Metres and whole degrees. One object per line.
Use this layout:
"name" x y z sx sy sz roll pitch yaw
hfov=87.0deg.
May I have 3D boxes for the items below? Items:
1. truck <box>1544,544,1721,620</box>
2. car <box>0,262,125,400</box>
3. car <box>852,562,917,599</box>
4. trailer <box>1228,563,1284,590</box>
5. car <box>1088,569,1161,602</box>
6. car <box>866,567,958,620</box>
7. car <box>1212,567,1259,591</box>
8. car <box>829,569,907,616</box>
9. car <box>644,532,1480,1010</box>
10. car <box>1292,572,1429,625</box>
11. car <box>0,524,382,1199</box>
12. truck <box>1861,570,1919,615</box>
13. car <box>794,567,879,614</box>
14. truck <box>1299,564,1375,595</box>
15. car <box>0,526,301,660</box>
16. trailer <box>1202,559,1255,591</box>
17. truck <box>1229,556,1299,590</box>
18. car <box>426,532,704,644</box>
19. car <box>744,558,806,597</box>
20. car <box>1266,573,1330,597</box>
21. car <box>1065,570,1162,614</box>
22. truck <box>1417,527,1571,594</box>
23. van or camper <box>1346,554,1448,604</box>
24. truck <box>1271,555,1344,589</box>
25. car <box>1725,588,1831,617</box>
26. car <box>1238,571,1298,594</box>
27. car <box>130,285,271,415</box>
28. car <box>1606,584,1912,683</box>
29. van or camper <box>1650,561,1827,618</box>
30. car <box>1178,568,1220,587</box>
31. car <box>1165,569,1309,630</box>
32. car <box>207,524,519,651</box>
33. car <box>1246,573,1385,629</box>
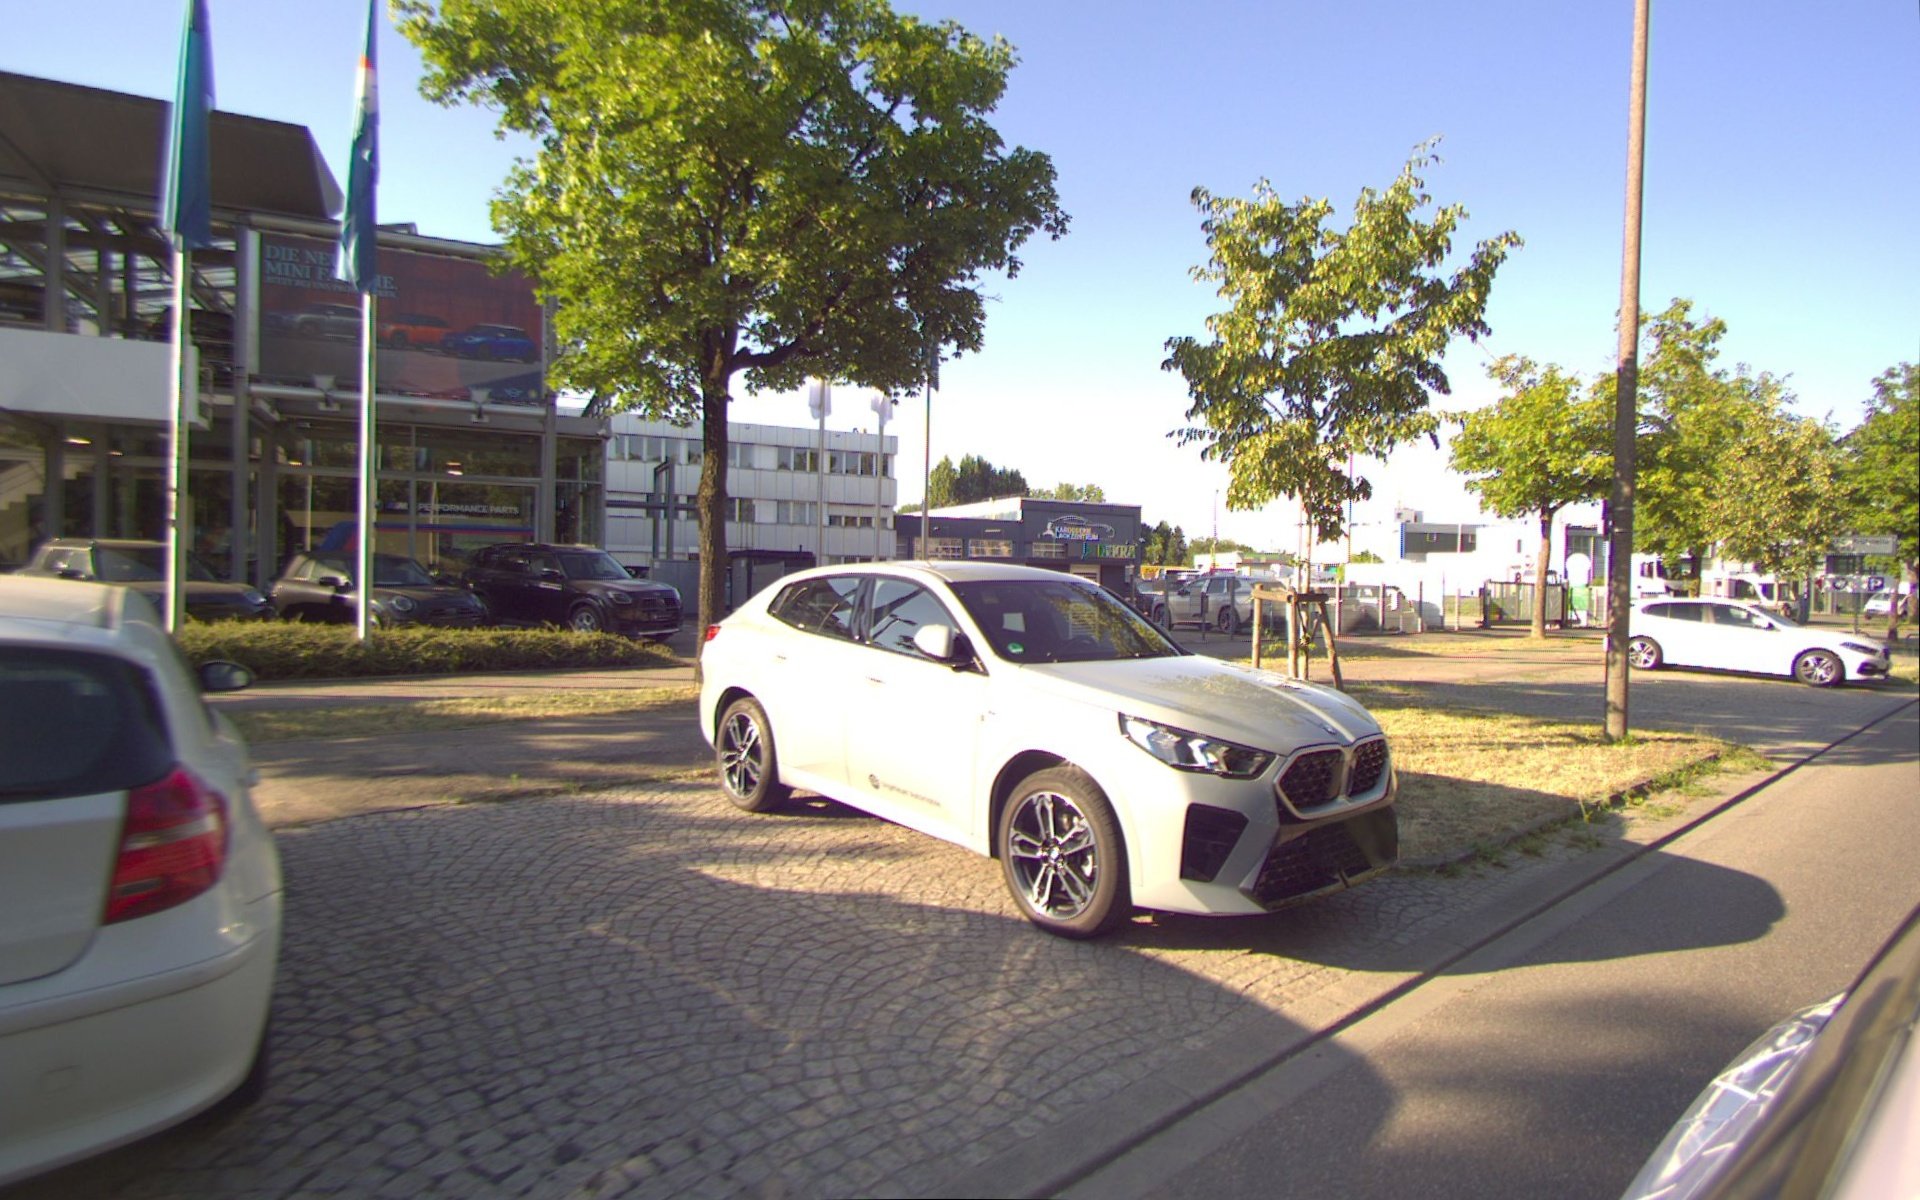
"truck" 34.220 -0.965 52.022 3.053 3.566 8.263 1 1 -4
"car" -18.636 -5.377 20.514 1.750 1.688 4.005 1 -1 -27
"car" -3.826 -1.010 50.468 1.958 1.762 4.008 1 2 -24
"trailer" 28.781 -2.322 98.508 4.758 2.467 2.004 1 1 -9
"car" 8.386 -0.777 51.896 1.958 1.598 4.009 1 2 -21
"car" -1.755 -0.278 35.882 1.958 1.598 4.009 6 0 -21
"car" 27.387 -2.112 100.618 3.918 2.306 2.092 1 1 -9
"car" -3.741 -0.353 40.689 1.958 1.598 4.009 6 0 -21
"car" 0.157 0.470 5.804 1.966 1.604 4.597 0 3 -43
"car" 13.097 -0.100 33.353 1.958 1.598 4.009 1 2 -21
"car" -3.404 0.497 3.215 1.965 1.497 4.386 0 3 -40
"truck" 60.860 -0.448 64.726 5.847 2.754 2.552 1 1 -24
"car" -4.403 -0.362 35.561 1.958 1.464 4.009 3 1 -21
"truck" 37.958 -2.106 102.028 6.968 2.942 2.003 1 1 -8
"car" -11.480 -0.169 13.849 4.554 1.593 1.984 2 2 24
"trailer" 27.541 -2.586 104.020 4.758 3.107 2.004 1 1 -9
"truck" 34.298 -3.020 114.281 6.968 3.620 2.682 1 1 -8
"car" -7.020 -0.277 17.948 4.556 1.687 1.984 3 2 24
"car" -8.852 -1.076 48.236 1.958 1.762 4.008 1 2 -24
"car" 29.661 -1.303 88.835 4.947 2.040 2.003 0 -1 -10
"car" 6.048 -0.357 40.378 2.115 1.598 4.009 -2 2 -21
"truck" 32.358 -2.343 62.001 3.229 3.689 10.132 1 1 -5
"van or camper" 31.660 -1.551 73.785 2.364 3.370 8.157 1 1 -13
"truck" 36.389 -2.942 105.923 6.968 3.392 2.003 1 1 -8
"car" 48.382 0.098 59.914 4.796 1.510 1.970 3 2 42
"car" 28.779 -1.671 94.666 4.947 2.038 2.004 1 1 -10
"car" -16.486 -5.334 22.167 1.750 1.688 4.005 1 -1 -27
"car" 14.948 0.538 19.106 2.052 1.461 4.206 0 3 -42
"van or camper" 43.606 -0.664 57.105 2.882 2.936 8.026 1 2 -9
"car" 25.967 -2.444 110.176 3.917 2.038 2.004 1 1 -9
"car" 7.843 -0.052 29.054 1.958 1.598 4.009 1 2 -21
"car" -9.439 -0.261 15.991 4.555 1.687 1.985 3 2 24
"car" 11.128 -0.019 31.961 1.958 1.598 4.009 1 2 -21
